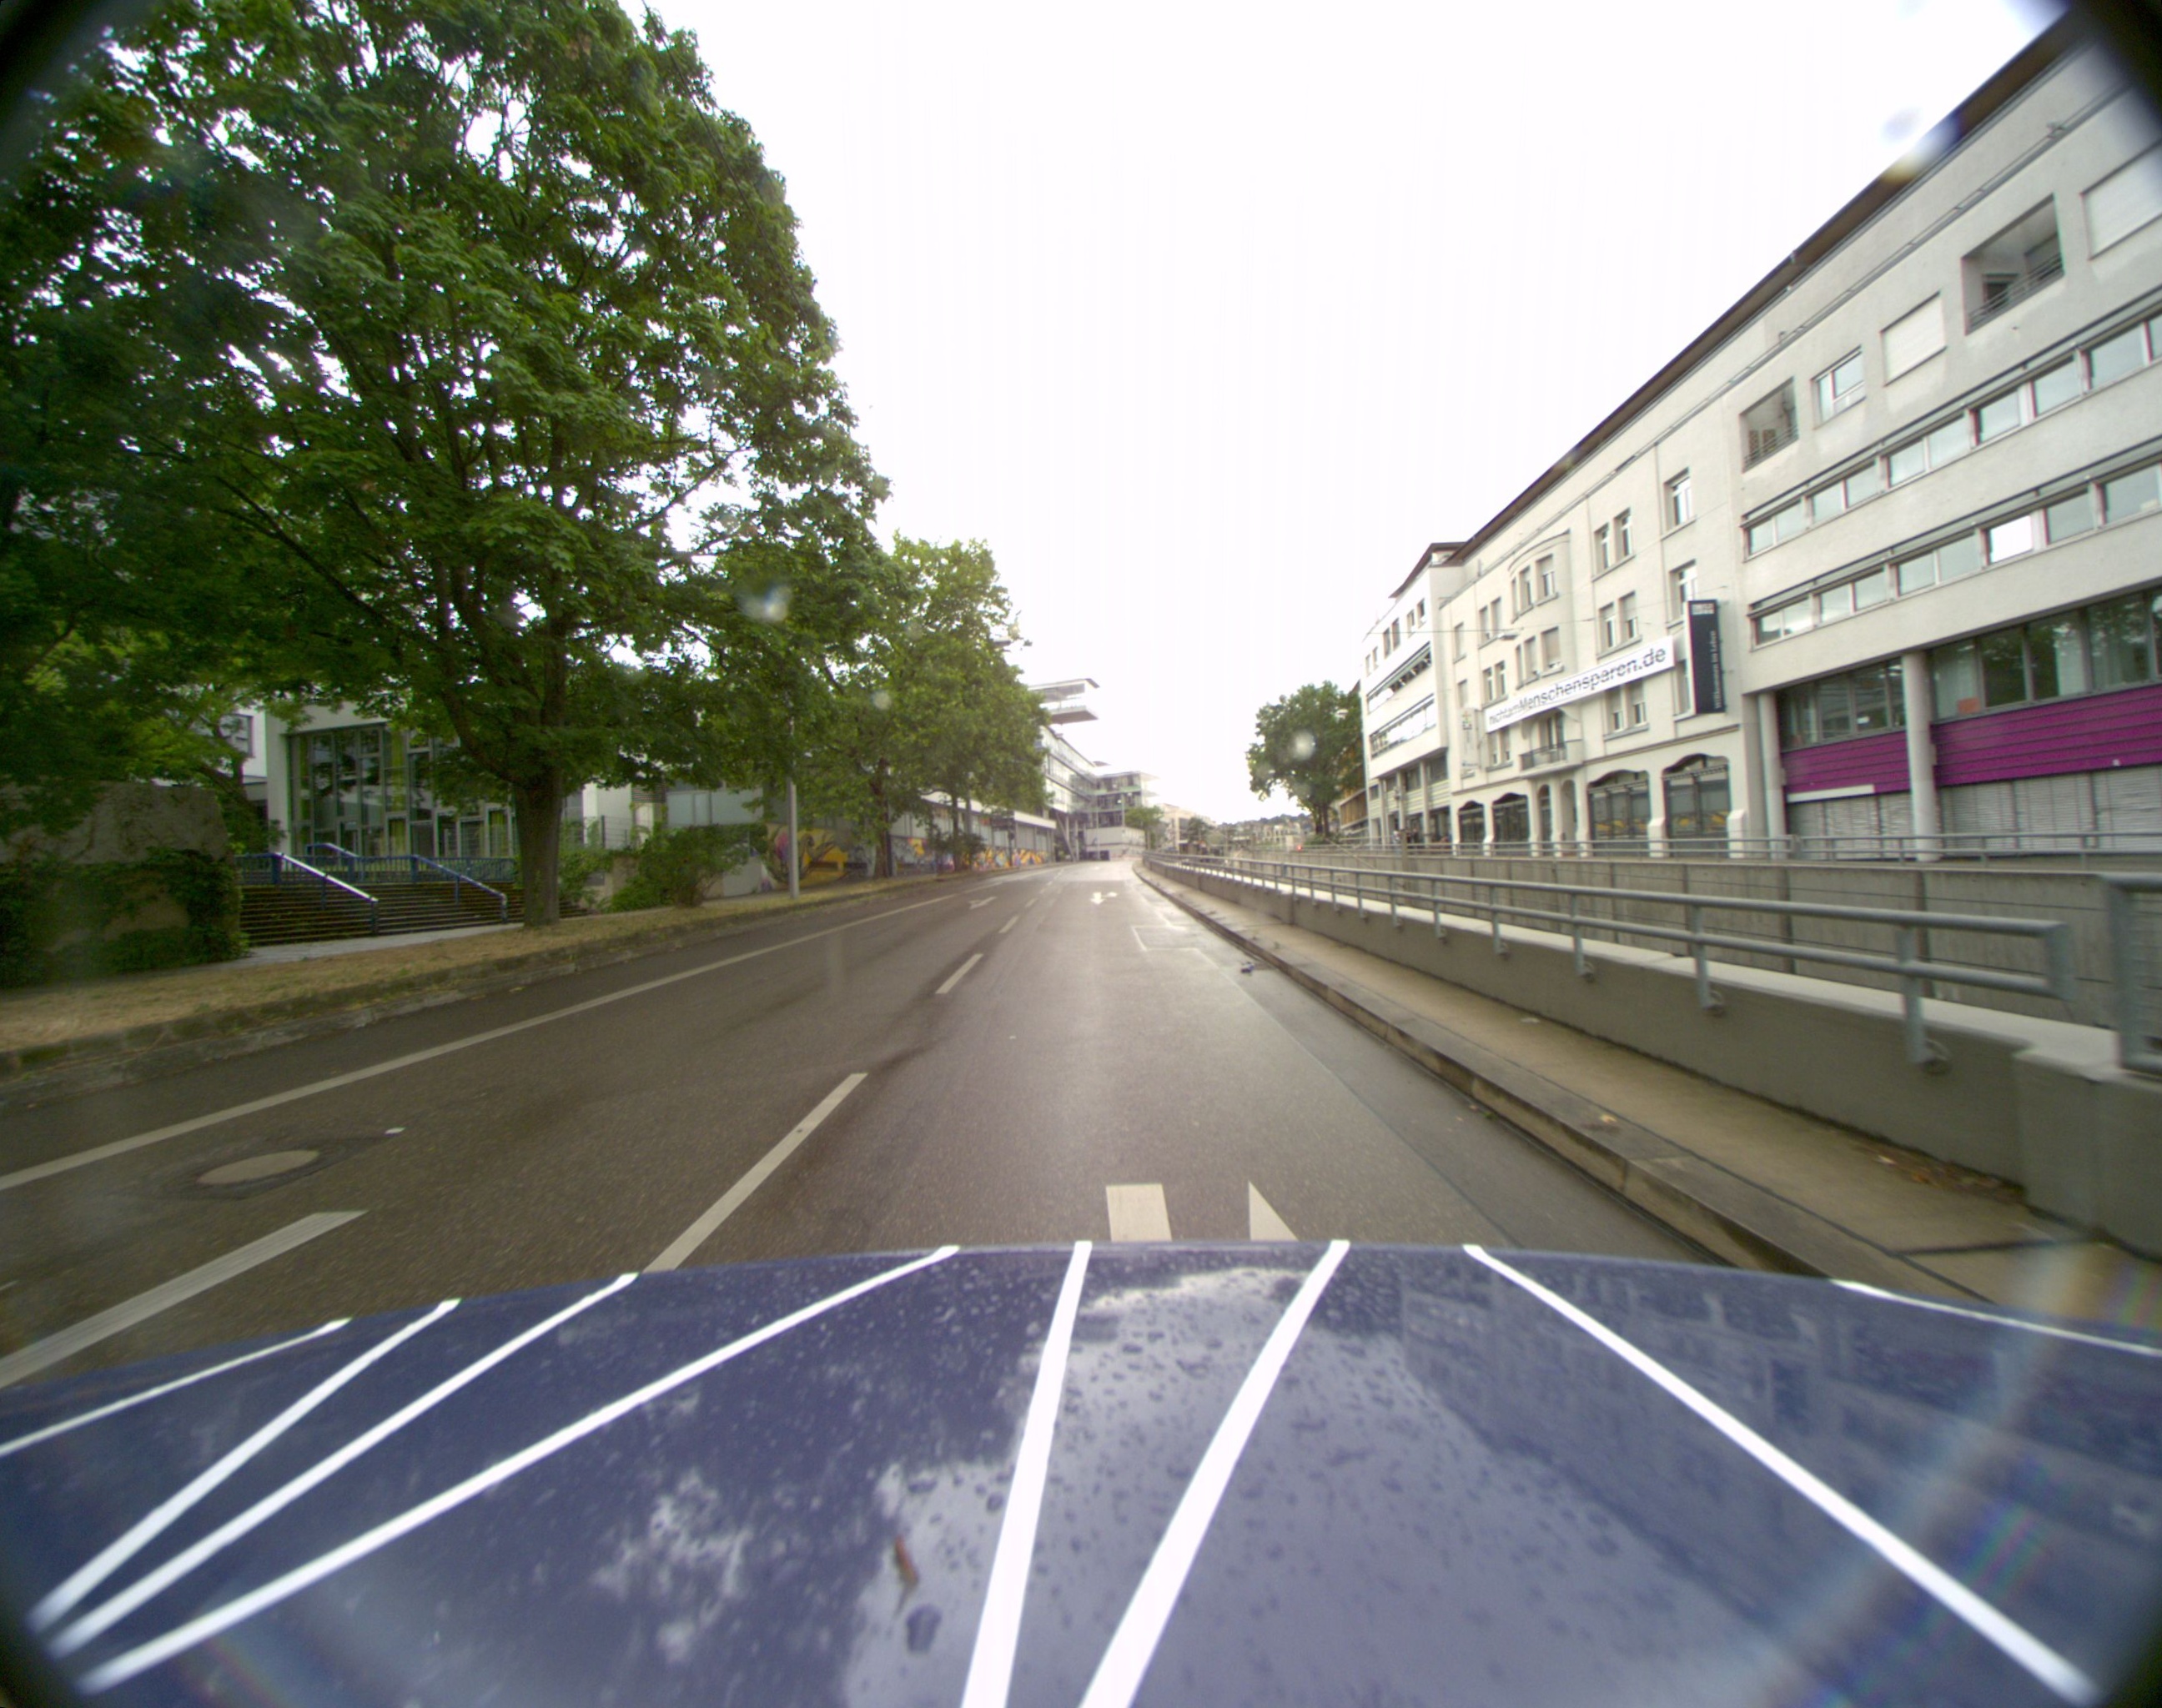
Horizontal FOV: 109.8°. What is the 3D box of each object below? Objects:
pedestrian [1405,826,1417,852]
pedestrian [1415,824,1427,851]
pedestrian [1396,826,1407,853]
[{"bbox_3d":[22.480,-1.020,51.759,0.547,1.792,0.470,-4,1,-7],"label":"pedestrian"},{"bbox_3d":[22.571,-1.089,50.497,0.470,1.792,0.547,-4,1,3],"label":"pedestrian"},{"bbox_3d":[21.752,-0.995,51.533,0.469,1.792,0.548,-4,1,8],"label":"pedestrian"}]
